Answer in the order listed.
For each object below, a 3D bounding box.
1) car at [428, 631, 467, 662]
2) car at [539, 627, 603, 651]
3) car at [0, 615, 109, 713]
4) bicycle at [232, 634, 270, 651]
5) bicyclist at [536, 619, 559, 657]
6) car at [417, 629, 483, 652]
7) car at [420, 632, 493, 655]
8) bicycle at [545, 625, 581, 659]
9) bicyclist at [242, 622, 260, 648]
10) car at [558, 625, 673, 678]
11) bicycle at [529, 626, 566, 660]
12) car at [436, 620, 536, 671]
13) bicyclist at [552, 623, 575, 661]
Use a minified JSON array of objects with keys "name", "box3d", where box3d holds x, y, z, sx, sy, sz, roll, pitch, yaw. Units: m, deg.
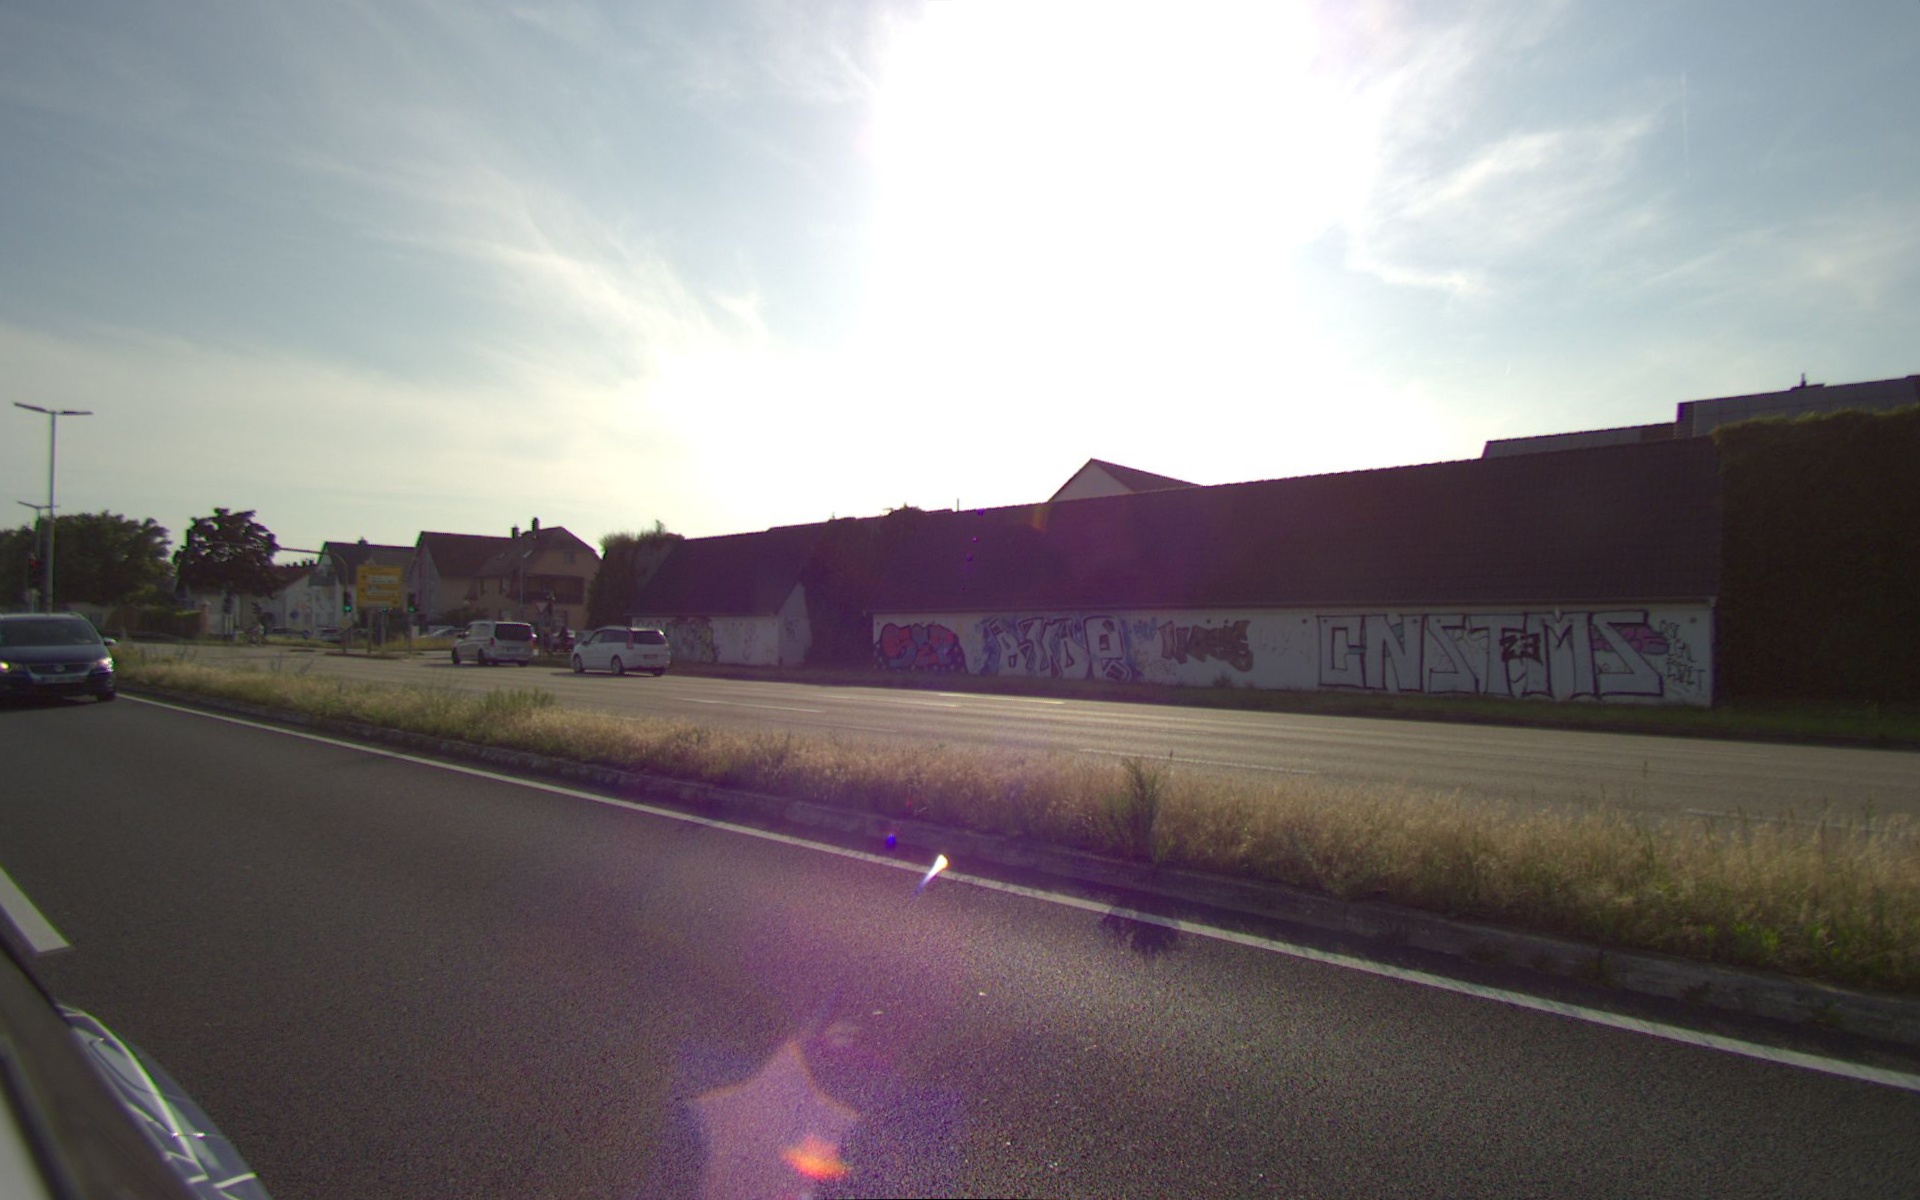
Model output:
[{"name":"car","box3d":[-27.413,2.457,54.195,1.678,1.509,4.552,4,-4,-26]},{"name":"car","box3d":[-27.289,2.699,71.135,1.935,1.509,4.743,-1,0,12]},{"name":"car","box3d":[-17.591,1.105,19.049,4.680,1.633,1.754,-1,-1,42]},{"name":"bicycle","box3d":[-50.415,3.027,71.979,2.129,1.201,0.905,3,-2,-41]},{"name":"bicyclist","box3d":[-22.596,2.092,55.399,1.061,2.029,0.762,-1,0,41]},{"name":"car","box3d":[-37.874,3.028,75.208,1.757,1.575,3.945,-1,-4,41]},{"name":"car","box3d":[-35.021,3.044,70.435,1.638,1.424,4.255,-1,-4,34]},{"name":"bicycle","box3d":[-21.999,2.304,56.053,2.606,1.762,0.745,-1,0,41]},{"name":"bicyclist","box3d":[-50.436,2.495,71.965,0.844,1.800,0.848,5,-4,-41]},{"name":"car","box3d":[-12.214,1.793,35.754,4.759,1.720,1.816,-1,-4,44]},{"name":"bicycle","box3d":[-22.581,2.316,55.373,2.606,1.762,0.745,-1,0,41]},{"name":"car","box3d":[-20.269,1.907,43.137,5.454,1.942,1.886,-1,-4,43]},{"name":"bicyclist","box3d":[-21.929,2.303,55.944,1.061,2.029,0.762,-1,0,41]}]
